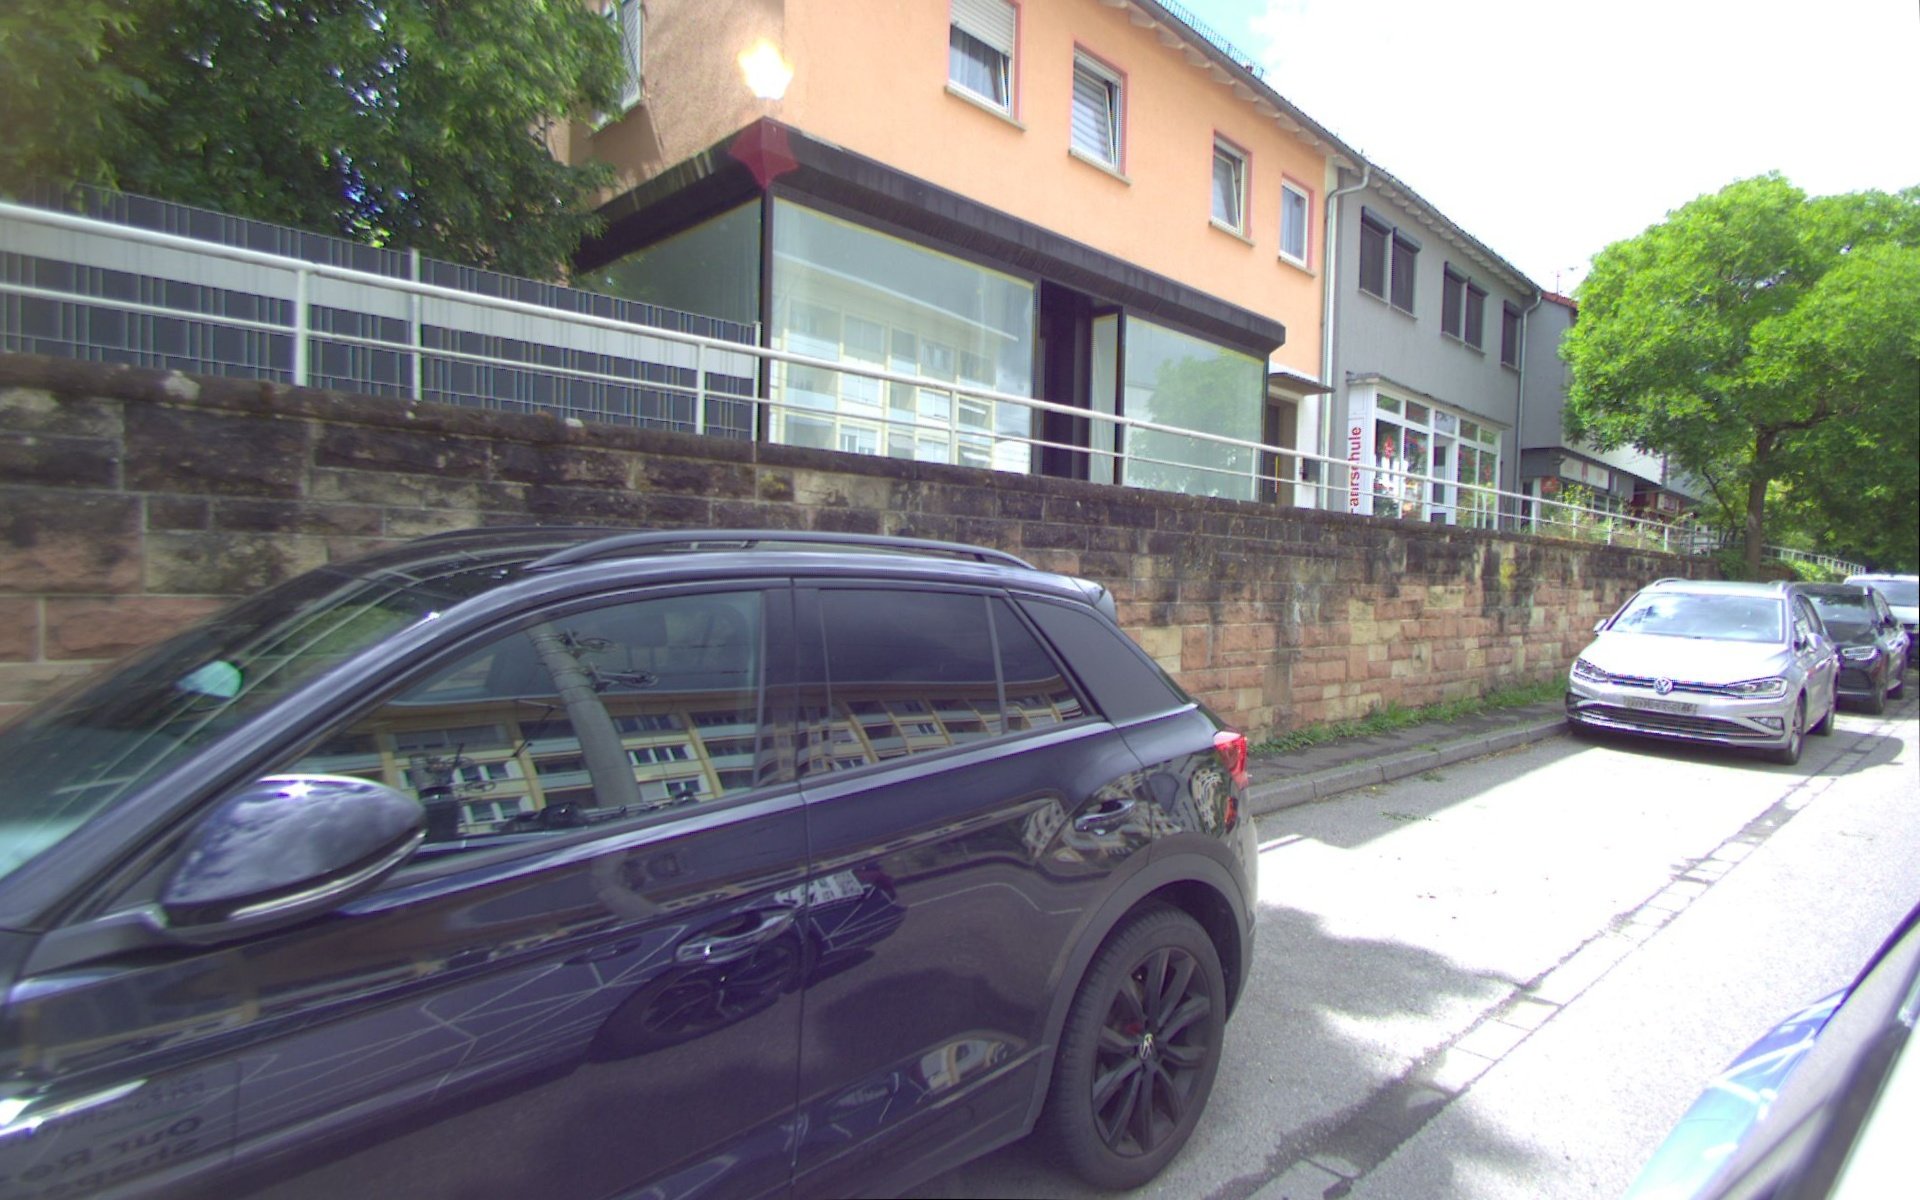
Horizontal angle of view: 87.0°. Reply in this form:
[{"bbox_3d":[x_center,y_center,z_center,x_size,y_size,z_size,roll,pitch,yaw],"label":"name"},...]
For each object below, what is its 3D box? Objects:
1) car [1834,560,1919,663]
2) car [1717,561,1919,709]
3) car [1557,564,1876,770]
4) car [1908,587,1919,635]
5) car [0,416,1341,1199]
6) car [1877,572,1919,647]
[{"bbox_3d":[20.680,0.204,22.071,4.885,2.033,1.852,-1,3,-43],"label":"car"},{"bbox_3d":[12.100,0.373,14.093,3.932,1.737,1.758,-1,3,-42],"label":"car"},{"bbox_3d":[7.667,0.504,10.106,4.104,1.587,1.758,0,3,-43],"label":"car"},{"bbox_3d":[33.050,0.374,33.651,4.730,1.535,1.852,-1,3,-43],"label":"car"},{"bbox_3d":[-0.952,0.563,2.268,3.954,1.599,1.758,-1,3,-42],"label":"car"},{"bbox_3d":[27.314,0.234,28.405,4.885,1.961,1.852,-1,3,-43],"label":"car"}]
